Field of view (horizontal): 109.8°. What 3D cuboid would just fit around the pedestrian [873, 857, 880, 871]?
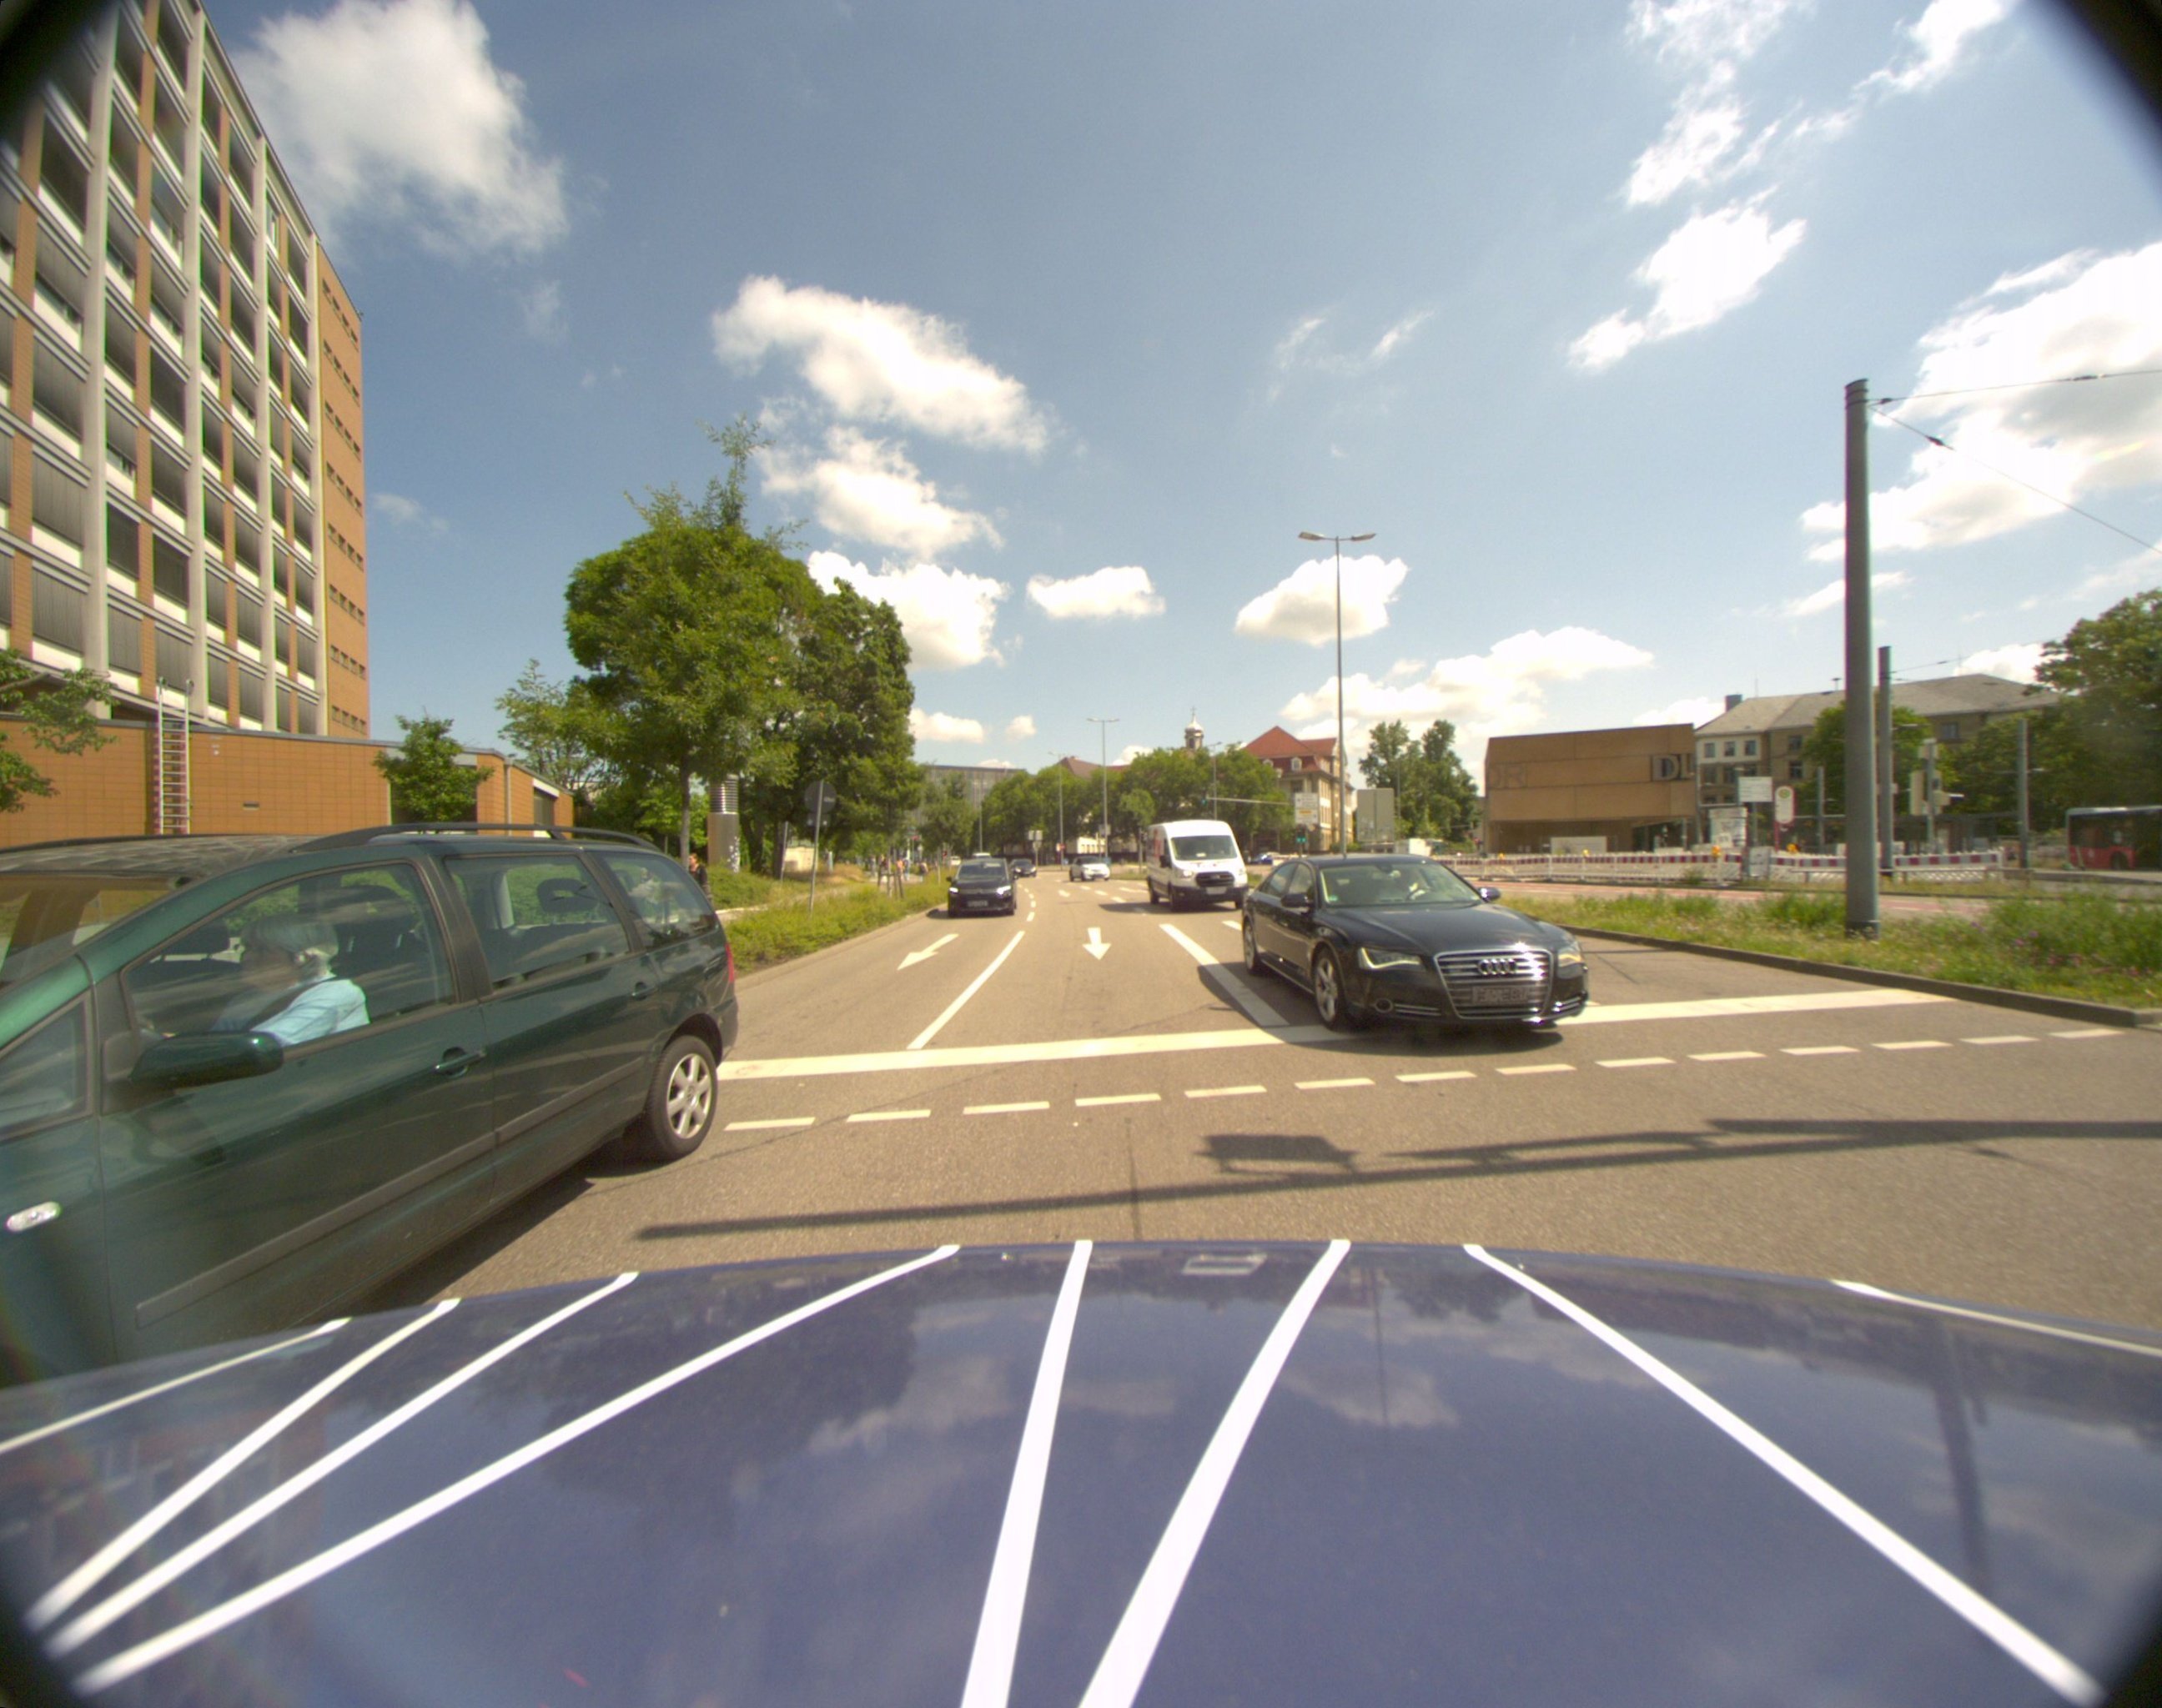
[{"bbox_3d":[-26.285,1.300,97.695,0.753,1.767,0.879,0,0,-31],"label":"pedestrian"}]

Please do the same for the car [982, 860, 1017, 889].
[{"bbox_3d":[-4.620,1.119,42.740,1.767,1.409,4.360,-3,1,-8],"label":"car"}]

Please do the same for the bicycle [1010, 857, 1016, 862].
[{"bbox_3d":[-13.547,1.118,150.963,0.378,1.037,1.413,-2,0,-39],"label":"bicycle"}]

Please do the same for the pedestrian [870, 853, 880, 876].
[{"bbox_3d":[-15.802,0.800,58.308,0.753,1.742,0.608,0,0,-18],"label":"pedestrian"}]

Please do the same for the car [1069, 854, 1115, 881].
[{"bbox_3d":[0.608,0.822,47.861,1.753,1.496,4.514,-3,1,-14],"label":"car"}]

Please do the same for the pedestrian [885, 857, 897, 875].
[{"bbox_3d":[-16.590,1.030,66.200,0.753,1.586,0.879,0,0,-33],"label":"pedestrian"}]

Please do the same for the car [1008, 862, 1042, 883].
[{"bbox_3d":[-4.622,1.475,61.961,1.754,1.496,4.513,-3,1,-17],"label":"car"}]

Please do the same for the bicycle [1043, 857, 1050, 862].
[{"bbox_3d":[-6.496,1.025,142.767,0.399,1.037,1.635,-2,1,-45],"label":"bicycle"}]

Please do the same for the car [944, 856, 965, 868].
[{"bbox_3d":[-21.719,1.348,130.182,1.890,1.883,4.858,-1,0,-31],"label":"car"}]

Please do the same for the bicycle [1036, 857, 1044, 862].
[{"bbox_3d":[-7.800,1.046,144.117,0.399,1.037,1.952,-2,0,-42],"label":"bicycle"}]

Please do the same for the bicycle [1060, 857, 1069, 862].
[{"bbox_3d":[-3.059,1.027,139.104,0.399,1.037,1.952,-2,1,-45],"label":"bicycle"}]

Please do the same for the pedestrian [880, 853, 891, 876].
[{"bbox_3d":[-15.119,0.793,58.762,0.753,1.791,0.608,0,0,-18],"label":"pedestrian"}]

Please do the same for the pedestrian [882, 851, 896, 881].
[{"bbox_3d":[-11.982,0.742,47.418,0.759,1.811,0.637,-3,2,-17],"label":"pedestrian"}]

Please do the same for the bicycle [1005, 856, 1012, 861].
[{"bbox_3d":[-14.512,0.866,152.195,0.383,1.037,1.666,-2,0,-38],"label":"bicycle"}]

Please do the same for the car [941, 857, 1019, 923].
[{"bbox_3d":[-2.841,0.966,22.279,1.863,1.613,4.518,-2,1,-3],"label":"car"}]

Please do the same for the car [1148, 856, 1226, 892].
[{"bbox_3d":[4.587,0.845,33.460,1.754,1.426,4.514,-2,0,-15],"label":"car"}]

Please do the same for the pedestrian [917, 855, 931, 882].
[{"bbox_3d":[-9.687,0.903,46.948,0.652,1.616,0.774,1,1,-2],"label":"pedestrian"}]

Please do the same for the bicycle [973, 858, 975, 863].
[{"bbox_3d":[-23.082,1.313,164.009,0.382,1.101,1.670,-1,0,-4],"label":"bicycle"}]

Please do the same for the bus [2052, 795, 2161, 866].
[{"bbox_3d":[44.455,-0.964,29.990,2.588,2.843,12.285,-1,1,27],"label":"bus"}]

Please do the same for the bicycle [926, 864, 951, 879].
[{"bbox_3d":[-10.871,1.318,57.845,1.817,1.044,0.591,2,1,-18],"label":"bicycle"}]

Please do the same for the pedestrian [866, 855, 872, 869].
[{"bbox_3d":[-27.090,1.030,97.145,0.669,1.736,0.608,0,0,-31],"label":"pedestrian"}]

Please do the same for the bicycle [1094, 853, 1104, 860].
[{"bbox_3d":[3.160,0.448,133.403,2.033,1.130,0.399,-1,1,41],"label":"bicycle"}]

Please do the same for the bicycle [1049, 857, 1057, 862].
[{"bbox_3d":[-5.203,1.012,141.373,0.399,1.037,1.952,-2,1,-45],"label":"bicycle"}]

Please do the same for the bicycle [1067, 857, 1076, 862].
[{"bbox_3d":[-1.702,1.003,137.592,0.399,1.037,1.952,-2,1,-45],"label":"bicycle"}]

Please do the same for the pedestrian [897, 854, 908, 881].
[{"bbox_3d":[-11.175,0.851,47.586,0.589,1.617,0.726,-3,2,-17],"label":"pedestrian"}]

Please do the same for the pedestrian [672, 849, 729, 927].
[{"bbox_3d":[-8.066,0.698,16.150,0.758,1.580,0.761,-2,2,-2],"label":"pedestrian"}]

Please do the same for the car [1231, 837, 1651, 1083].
[{"bbox_3d":[2.921,0.732,7.566,1.933,1.631,4.792,-1,0,1],"label":"car"}]

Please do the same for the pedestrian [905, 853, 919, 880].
[{"bbox_3d":[-11.552,0.820,51.851,0.759,1.810,0.778,2,0,-23],"label":"pedestrian"}]

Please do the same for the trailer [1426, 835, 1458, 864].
[{"bbox_3d":[37.934,-0.533,79.972,1.997,2.897,4.369,-2,1,11],"label":"trailer"}]

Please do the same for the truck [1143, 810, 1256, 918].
[{"bbox_3d":[3.210,0.217,21.925,2.142,2.624,5.915,-2,1,-1],"label":"truck"}]

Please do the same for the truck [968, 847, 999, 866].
[{"bbox_3d":[-12.931,0.371,100.431,2.466,2.287,5.804,-3,1,-24],"label":"truck"}]

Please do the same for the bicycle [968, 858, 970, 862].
[{"bbox_3d":[-24.438,1.325,166.146,0.329,1.012,1.670,-1,0,-4],"label":"bicycle"}]

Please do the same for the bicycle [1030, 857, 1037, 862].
[{"bbox_3d":[-9.086,1.079,145.581,0.399,1.037,1.757,-2,0,-41],"label":"bicycle"}]

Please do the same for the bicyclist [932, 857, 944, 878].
[{"bbox_3d":[-10.894,1.037,57.828,0.831,1.592,0.578,1,1,-18],"label":"bicyclist"}]

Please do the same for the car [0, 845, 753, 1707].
[{"bbox_3d":[-3.021,0.874,2.420,1.798,1.713,4.448,-3,1,2],"label":"car"}]
